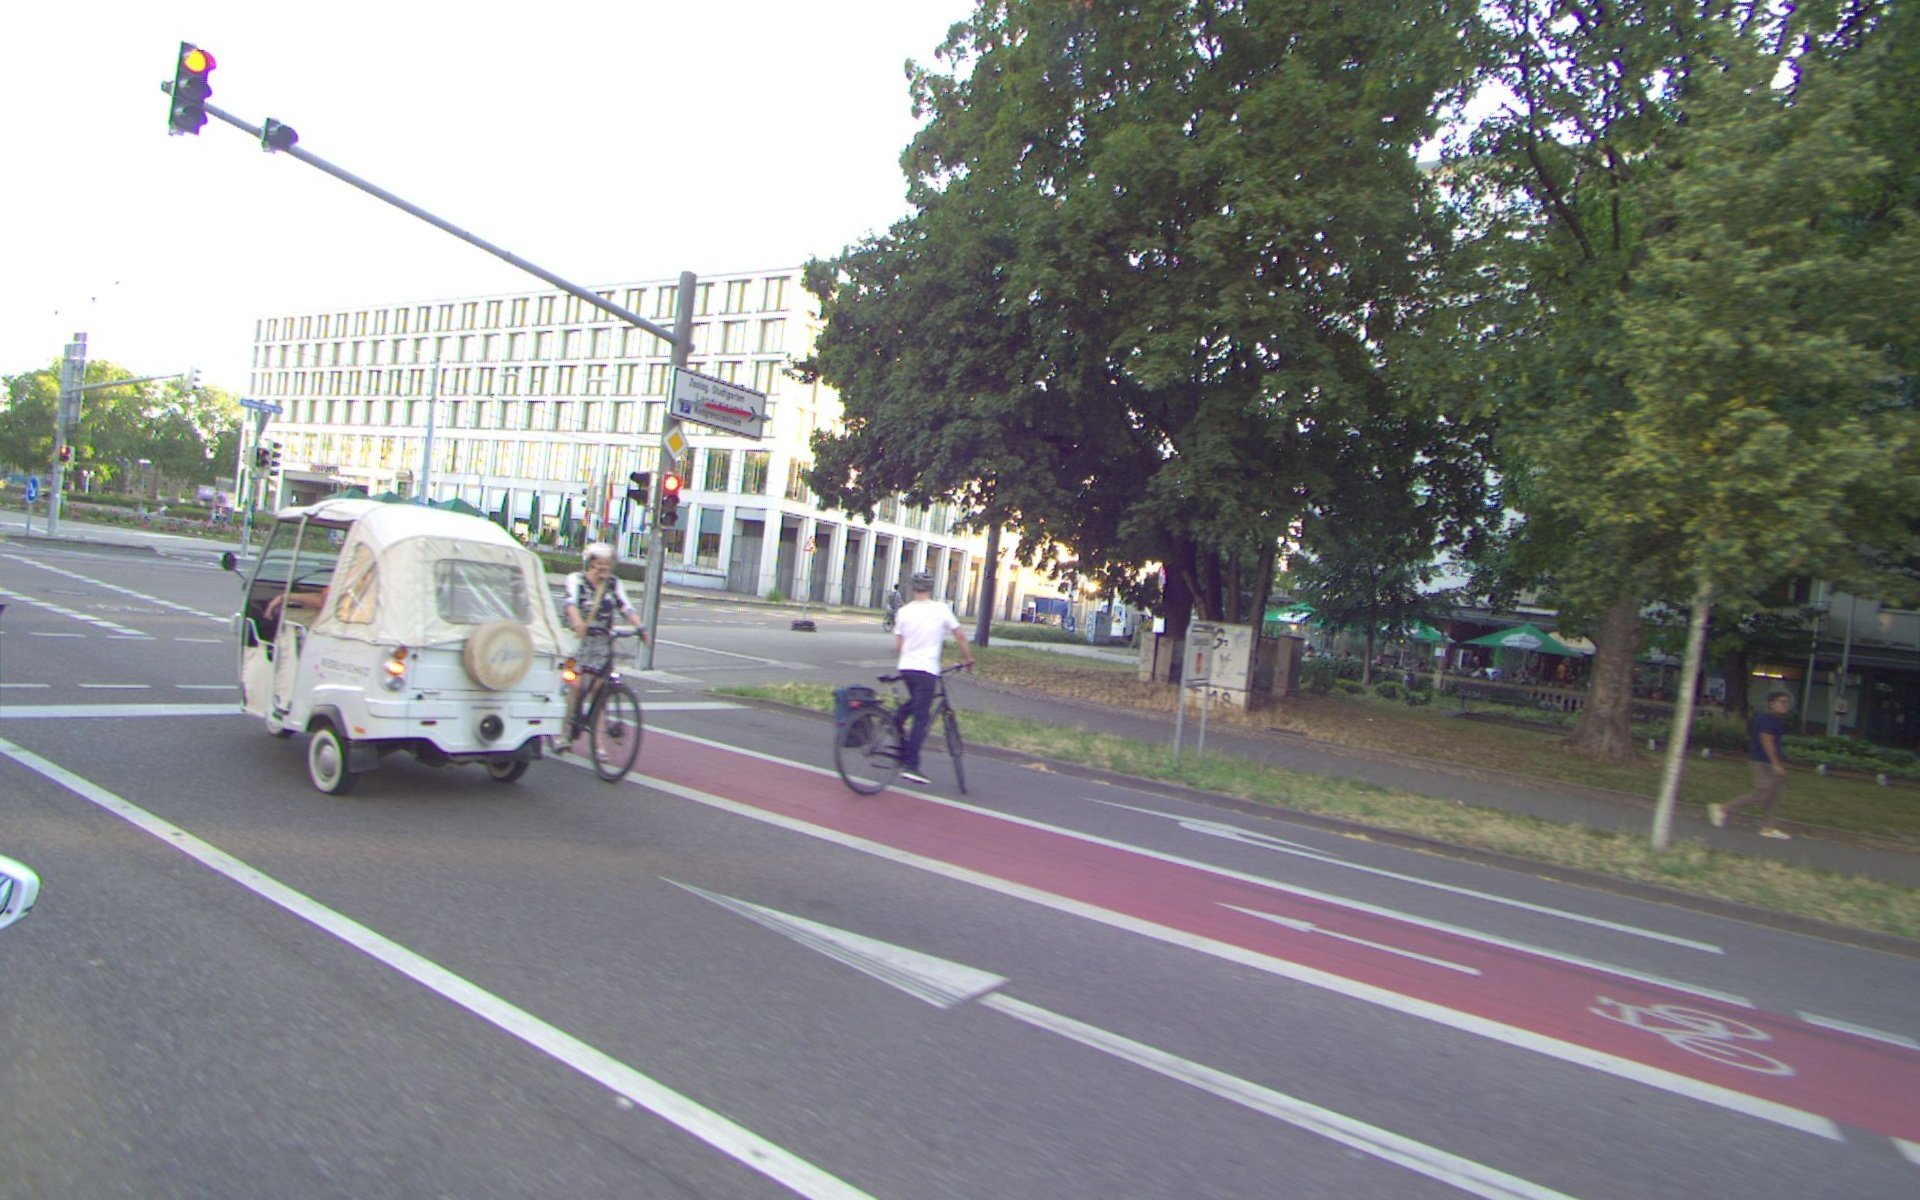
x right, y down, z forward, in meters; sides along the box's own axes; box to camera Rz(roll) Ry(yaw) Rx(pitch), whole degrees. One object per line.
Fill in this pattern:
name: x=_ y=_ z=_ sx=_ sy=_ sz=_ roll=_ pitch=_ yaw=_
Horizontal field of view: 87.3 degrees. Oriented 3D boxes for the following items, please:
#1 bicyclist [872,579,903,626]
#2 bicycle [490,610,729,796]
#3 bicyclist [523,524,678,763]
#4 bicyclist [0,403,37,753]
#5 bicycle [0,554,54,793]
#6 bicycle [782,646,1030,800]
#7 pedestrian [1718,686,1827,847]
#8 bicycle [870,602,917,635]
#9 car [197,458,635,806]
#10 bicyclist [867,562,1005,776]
bicyclist: x=-2.827 y=0.103 z=39.351 sx=0.704 sy=1.714 sz=0.746 roll=7 pitch=1 yaw=35
bicycle: x=-2.729 y=0.739 z=7.705 sx=1.993 sy=1.082 sz=0.728 roll=7 pitch=-1 yaw=41
bicyclist: x=-2.790 y=0.329 z=7.808 sx=0.738 sy=1.714 sz=0.712 roll=7 pitch=1 yaw=41
bicyclist: x=-5.124 y=-0.146 z=4.914 sx=0.736 sy=1.714 sz=0.628 roll=7 pitch=1 yaw=31
bicycle: x=-5.430 y=0.247 z=5.096 sx=2.035 sy=1.082 sz=0.638 roll=7 pitch=0 yaw=32
bicycle: x=-0.432 y=1.060 z=8.552 sx=1.885 sy=1.081 sz=0.724 roll=9 pitch=-1 yaw=-33
pedestrian: x=9.533 y=1.921 z=11.841 sx=0.736 sy=1.714 sz=0.696 roll=7 pitch=1 yaw=31
bicycle: x=-2.612 y=0.736 z=39.512 sx=0.719 sy=1.082 sz=1.898 roll=7 pitch=-1 yaw=35
car: x=-3.692 y=0.134 z=6.773 sx=2.523 sy=1.803 sz=1.460 roll=8 pitch=1 yaw=35
bicyclist: x=-0.216 y=0.581 z=8.648 sx=0.740 sy=1.714 sz=0.759 roll=6 pitch=1 yaw=-31
